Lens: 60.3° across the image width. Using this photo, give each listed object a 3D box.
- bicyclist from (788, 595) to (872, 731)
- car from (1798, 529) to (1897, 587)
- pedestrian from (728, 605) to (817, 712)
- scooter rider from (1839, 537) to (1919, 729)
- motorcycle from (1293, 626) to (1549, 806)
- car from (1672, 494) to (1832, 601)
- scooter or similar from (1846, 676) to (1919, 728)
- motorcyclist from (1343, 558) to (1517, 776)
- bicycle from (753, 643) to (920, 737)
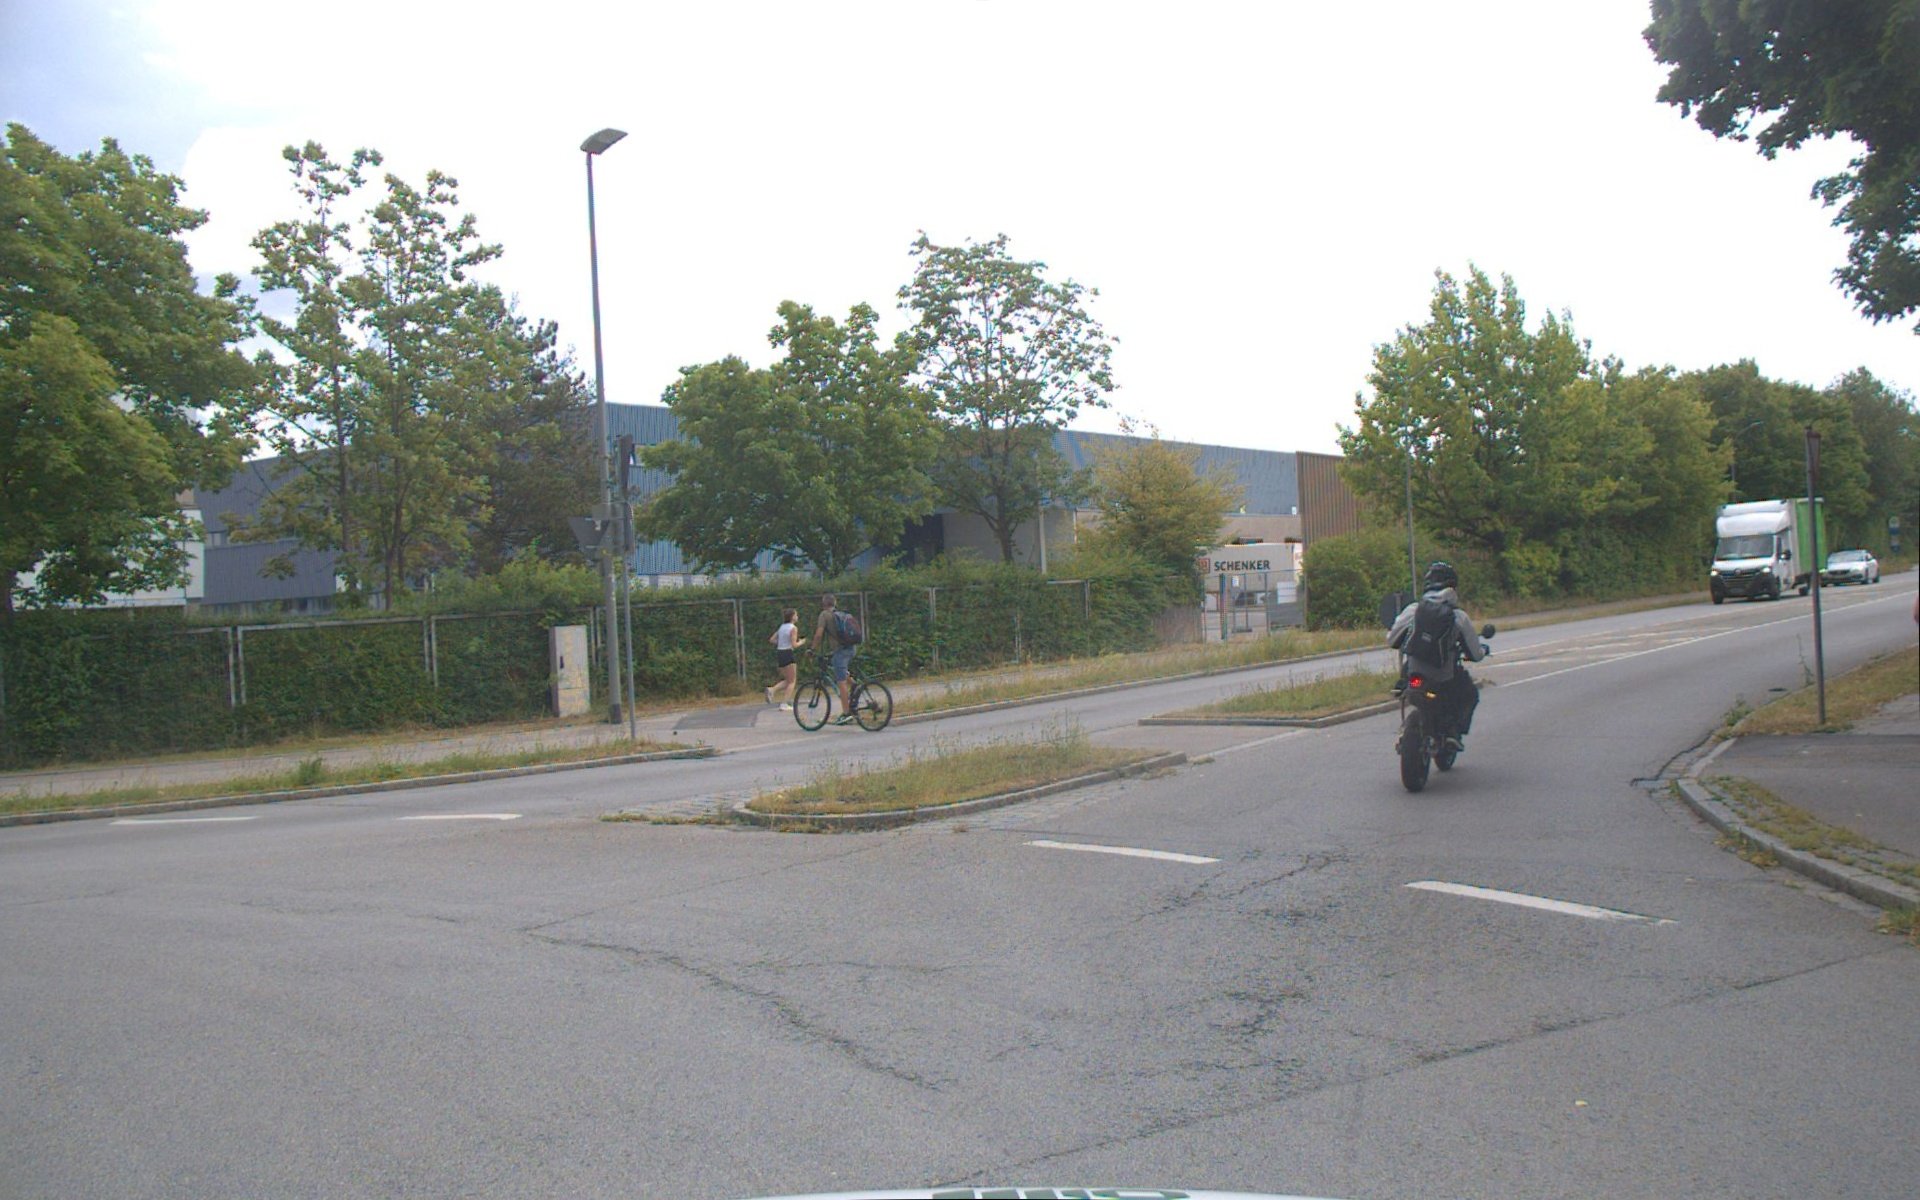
[{"bbox_3d":[-1.730,0.814,22.011,0.903,1.752,0.655,0,1,42],"label":"bicyclist"},{"bbox_3d":[37.695,-1.794,70.174,2.636,2.211,5.973,-3,0,38],"label":"car"},{"bbox_3d":[-2.889,0.891,25.498,1.037,1.571,0.775,-3,0,-44],"label":"pedestrian"},{"bbox_3d":[8.883,0.272,15.121,1.234,1.701,1.083,-3,0,-42],"label":"scooter rider"},{"bbox_3d":[3.778,0.879,13.366,0.883,1.178,2.605,-3,0,42],"label":"motorcycle"},{"bbox_3d":[27.068,-1.787,56.331,3.121,3.260,7.596,-3,0,39],"label":"car"},{"bbox_3d":[8.909,0.929,15.116,1.218,0.370,1.083,-3,0,-42],"label":"scooter or similar"},{"bbox_3d":[3.826,0.517,13.439,0.849,1.652,1.183,-3,0,43],"label":"motorcyclist"},{"bbox_3d":[-1.665,1.166,21.940,2.464,1.108,0.766,0,1,44],"label":"bicycle"}]
